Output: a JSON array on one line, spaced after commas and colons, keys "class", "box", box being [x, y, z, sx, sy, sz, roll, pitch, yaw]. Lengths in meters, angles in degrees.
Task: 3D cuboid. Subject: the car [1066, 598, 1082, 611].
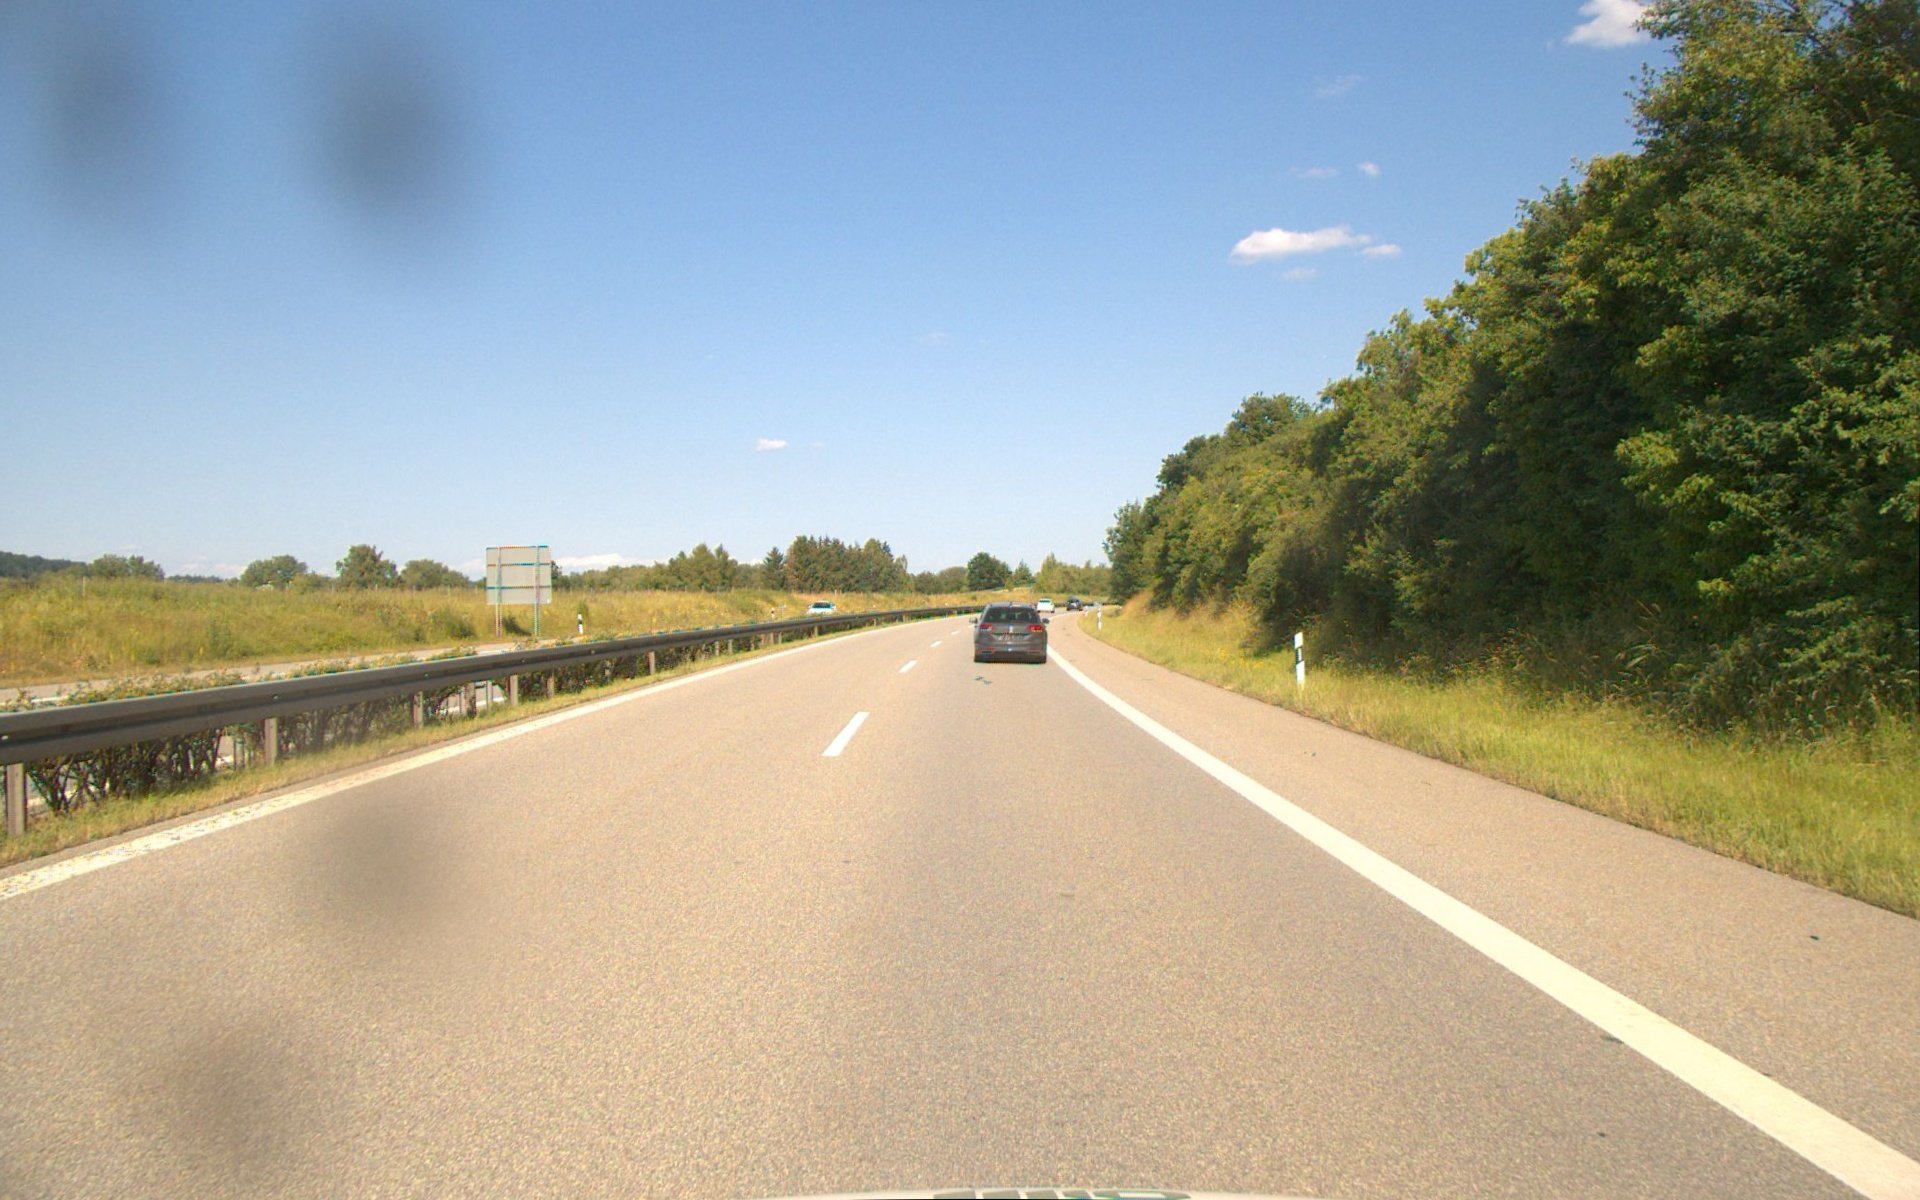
[{"class": "car", "box": [13.949, 0.548, 202.740, 1.674, 1.411, 3.358, 1, -1, 9]}]

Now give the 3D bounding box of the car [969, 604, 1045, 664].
[{"class": "car", "box": [1.103, 0.800, 40.404, 1.754, 1.368, 4.000, 1, 0, 0]}]

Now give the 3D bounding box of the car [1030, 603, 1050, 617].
[{"class": "car", "box": [8.380, 1.048, 173.885, 1.965, 1.368, 4.000, 2, -1, 2]}]

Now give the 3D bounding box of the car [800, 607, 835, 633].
[{"class": "car", "box": [-10.331, 1.417, 120.334, 1.728, 1.651, 5.011, -3, 0, 4]}]
